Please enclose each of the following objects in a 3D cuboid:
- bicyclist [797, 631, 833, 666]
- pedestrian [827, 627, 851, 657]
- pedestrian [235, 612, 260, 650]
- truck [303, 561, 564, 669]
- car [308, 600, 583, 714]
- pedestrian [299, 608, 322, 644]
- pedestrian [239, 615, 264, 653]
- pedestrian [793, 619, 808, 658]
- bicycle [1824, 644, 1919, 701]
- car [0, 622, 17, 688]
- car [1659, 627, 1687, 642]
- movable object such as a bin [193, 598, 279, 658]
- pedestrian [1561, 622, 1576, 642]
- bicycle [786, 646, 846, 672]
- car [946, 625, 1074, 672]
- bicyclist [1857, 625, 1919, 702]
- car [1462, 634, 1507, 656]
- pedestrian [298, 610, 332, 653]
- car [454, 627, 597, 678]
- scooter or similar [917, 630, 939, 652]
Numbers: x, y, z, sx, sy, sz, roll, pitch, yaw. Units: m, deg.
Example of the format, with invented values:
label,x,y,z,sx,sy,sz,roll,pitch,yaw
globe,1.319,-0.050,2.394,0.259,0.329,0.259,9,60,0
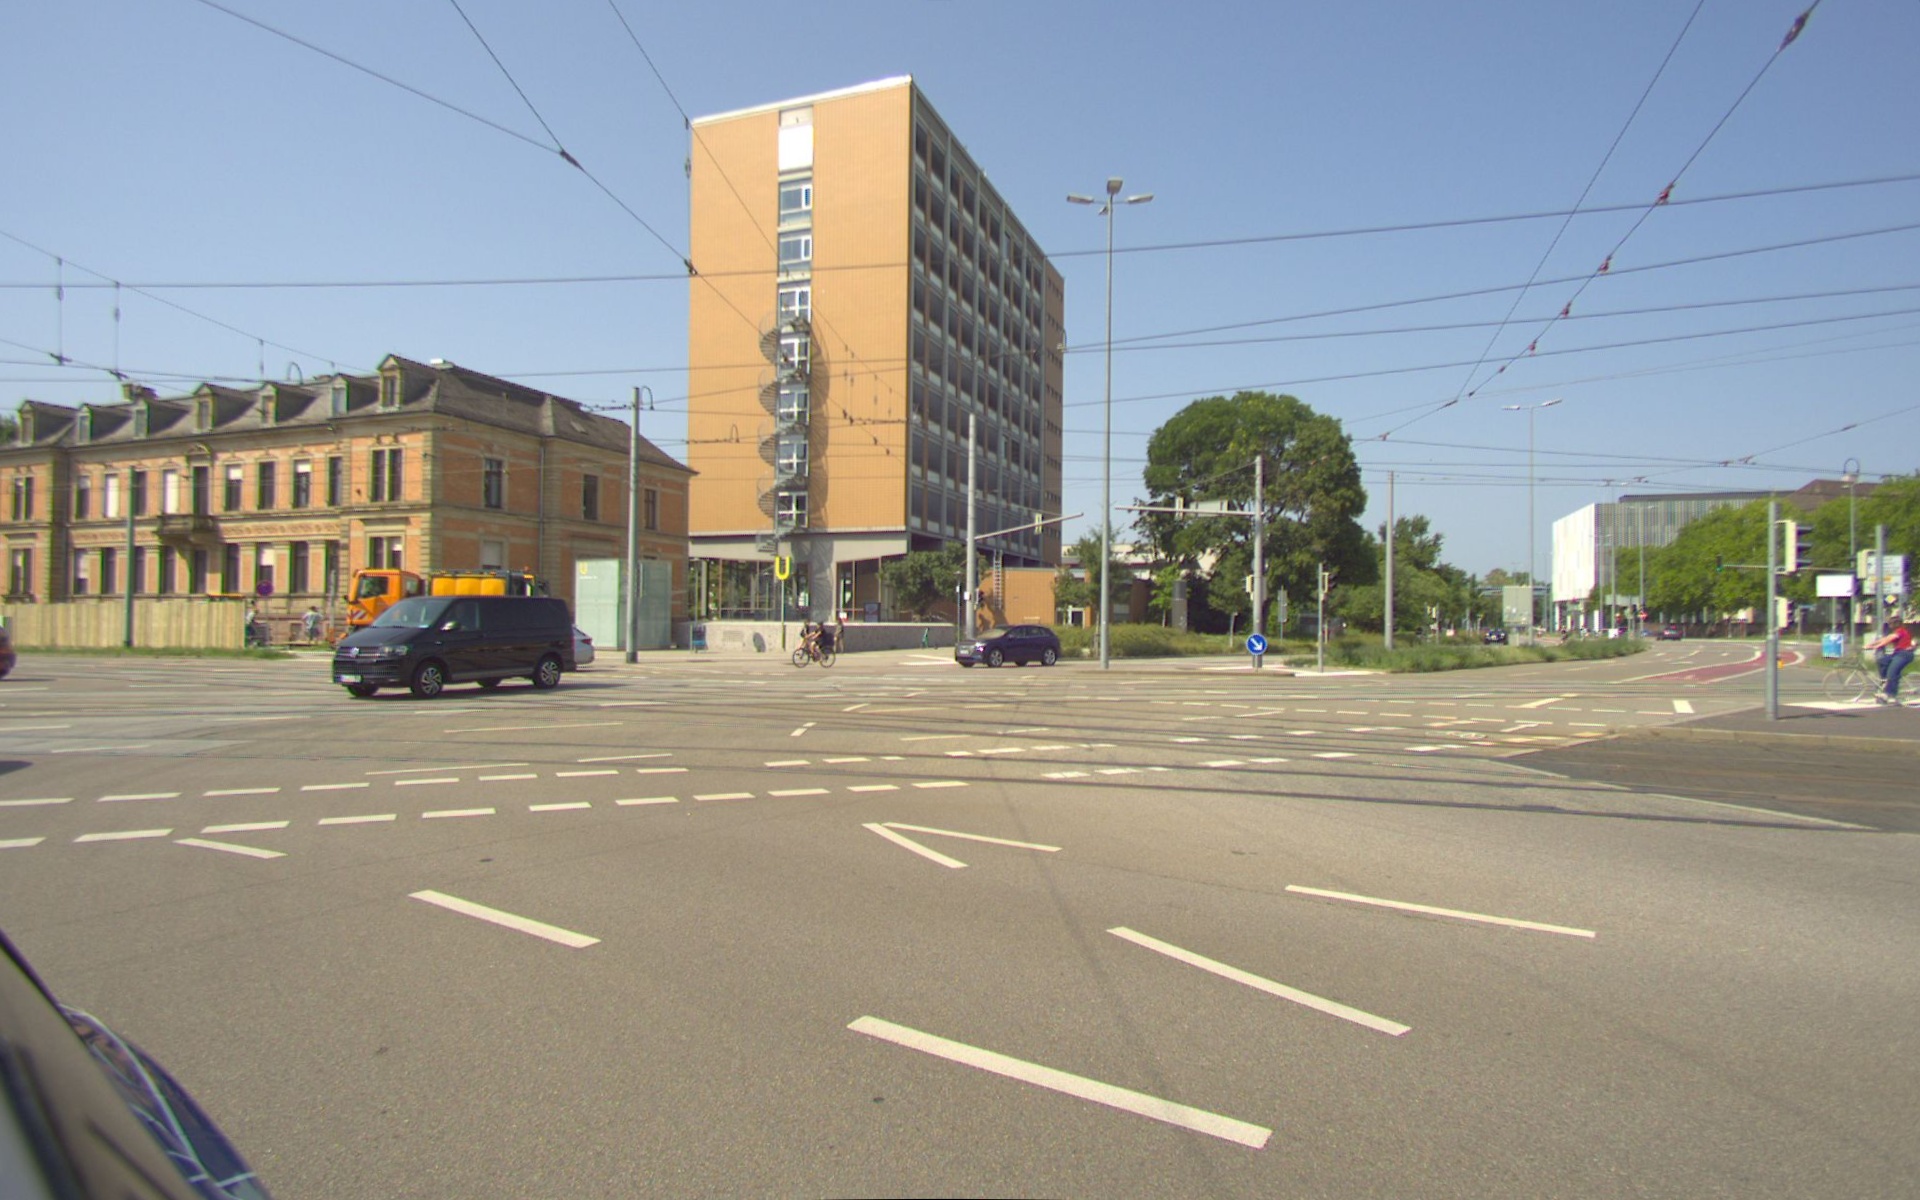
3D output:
label,x,y,z,sx,sy,sz,roll,pitch,yaw
bicyclist,-5.385,1.803,37.591,1.087,1.276,0.859,1,-2,-33
pedestrian,-5.593,1.931,46.811,0.785,1.405,0.838,-1,-2,36
pedestrian,-31.836,1.378,45.240,0.675,1.684,0.686,1,-2,-10
truck,-17.082,0.504,33.392,7.073,3.254,3.049,-1,-3,-11
car,-9.999,1.027,20.182,1.888,1.945,4.850,1,-1,21
pedestrian,-30.433,1.205,47.436,0.675,1.684,0.686,1,-2,-10
pedestrian,-31.709,1.517,45.315,0.675,1.684,0.686,1,-2,-10
pedestrian,-7.084,1.728,45.020,0.449,1.733,0.562,0,-3,-30
bicycle,18.410,1.433,20.063,1.910,1.077,0.607,-1,-2,38
car,-22.658,1.190,21.719,3.303,1.419,1.521,1,-3,-35
car,79.067,3.783,112.206,1.903,1.665,4.590,-1,-2,43
movable object such as a bin,-34.158,1.306,47.719,4.442,2.692,1.798,-1,-2,33
pedestrian,56.254,2.951,93.554,0.968,1.799,1.101,-1,-2,42
bicycle,-5.314,2.177,37.507,2.134,0.906,0.643,1,-2,-34
car,1.940,1.812,38.472,4.622,1.653,2.005,1,-2,-36
bicyclist,18.462,1.231,20.011,0.978,1.470,0.866,-1,-2,37
car,46.710,3.999,90.034,3.935,1.807,2.004,1,-3,-37
pedestrian,-27.768,1.358,43.554,1.022,1.827,0.686,1,-2,-10
car,-12.129,1.443,28.293,3.449,1.349,1.521,1,-3,-34
scooter or similar,-1.699,2.151,53.322,1.128,1.166,0.444,2,-2,-42
